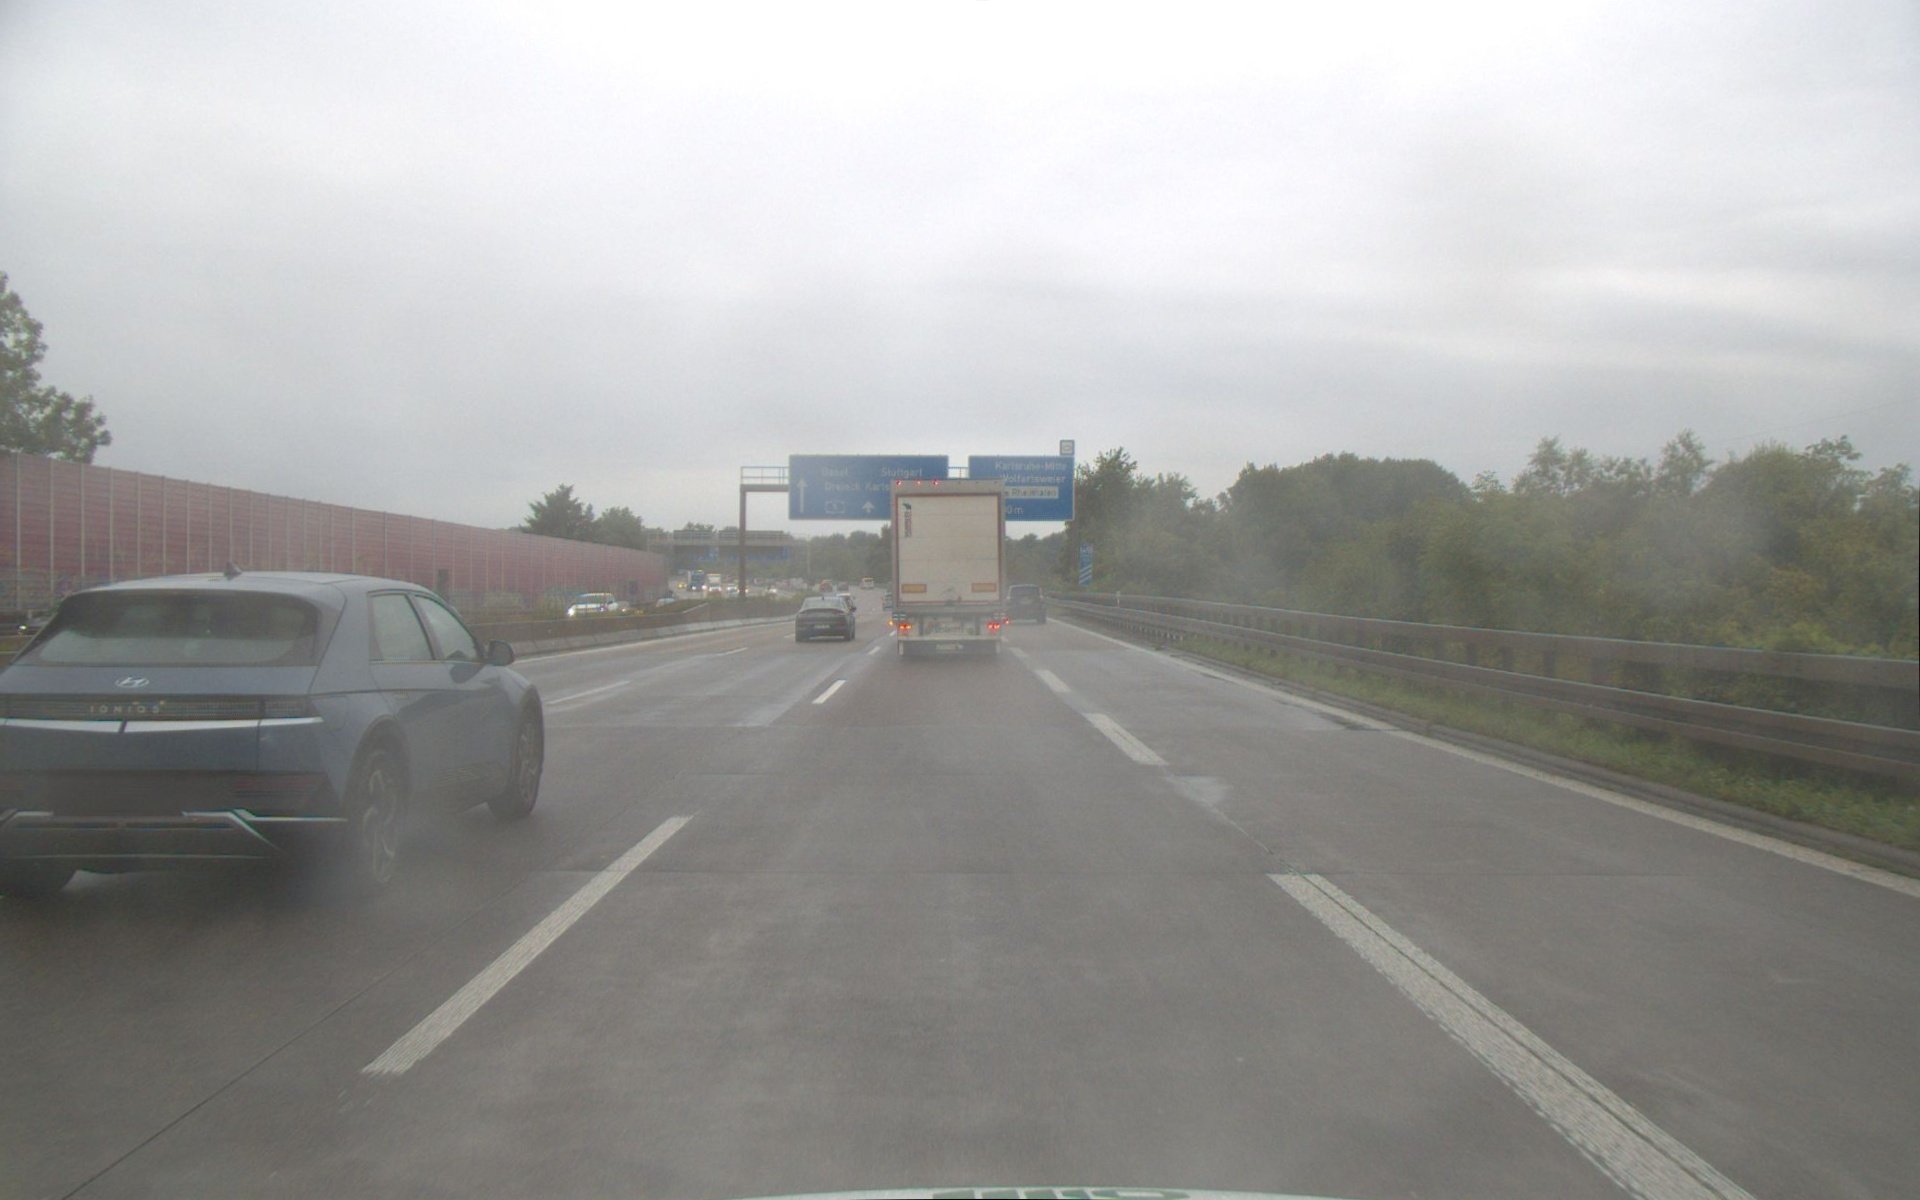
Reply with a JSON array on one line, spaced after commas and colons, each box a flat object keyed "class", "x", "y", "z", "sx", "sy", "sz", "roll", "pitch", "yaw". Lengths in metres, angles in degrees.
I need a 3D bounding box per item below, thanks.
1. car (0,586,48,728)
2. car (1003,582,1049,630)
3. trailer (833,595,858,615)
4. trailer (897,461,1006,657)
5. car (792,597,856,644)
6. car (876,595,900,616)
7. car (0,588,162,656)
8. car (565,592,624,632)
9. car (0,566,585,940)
[{"class": "car", "x": -15.034, "y": 0.803, "z": 23.655, "sx": 1.827, "sy": 2.048, "sz": 3.651, "roll": 5, "pitch": 0, "yaw": -1}, {"class": "car", "x": 2.846, "y": 0.246, "z": 72.294, "sx": 1.858, "sy": 1.983, "sz": 4.000, "roll": 2, "pitch": 0, "yaw": 1}, {"class": "trailer", "x": -9.798, "y": 0.392, "z": 142.128, "sx": 1.778, "sy": 1.653, "sz": 4.568, "roll": 1, "pitch": 0, "yaw": 0}, {"class": "trailer", "x": -0.208, "y": -1.012, "z": 43.584, "sx": 2.295, "sy": 4.229, "sz": 14.827, "roll": 1, "pitch": 1, "yaw": 0}, {"class": "car", "x": -4.389, "y": 0.640, "z": 54.128, "sx": 1.690, "sy": 1.427, "sz": 4.828, "roll": 2, "pitch": 0, "yaw": 0}, {"class": "car", "x": -6.051, "y": 0.483, "z": 139.978, "sx": 1.855, "sy": 1.754, "sz": 4.000, "roll": 0, "pitch": 0, "yaw": 0}, {"class": "car", "x": -23.025, "y": 0.535, "z": 43.462, "sx": 1.953, "sy": 1.677, "sz": 4.538, "roll": -1, "pitch": 0, "yaw": -1}, {"class": "car", "x": -19.925, "y": 0.628, "z": 90.419, "sx": 1.953, "sy": 2.049, "sz": 5.805, "roll": 2, "pitch": 0, "yaw": -1}, {"class": "car", "x": -3.688, "y": 0.678, "z": 9.819, "sx": 1.801, "sy": 1.622, "sz": 5.155, "roll": 1, "pitch": 0, "yaw": -1}]
